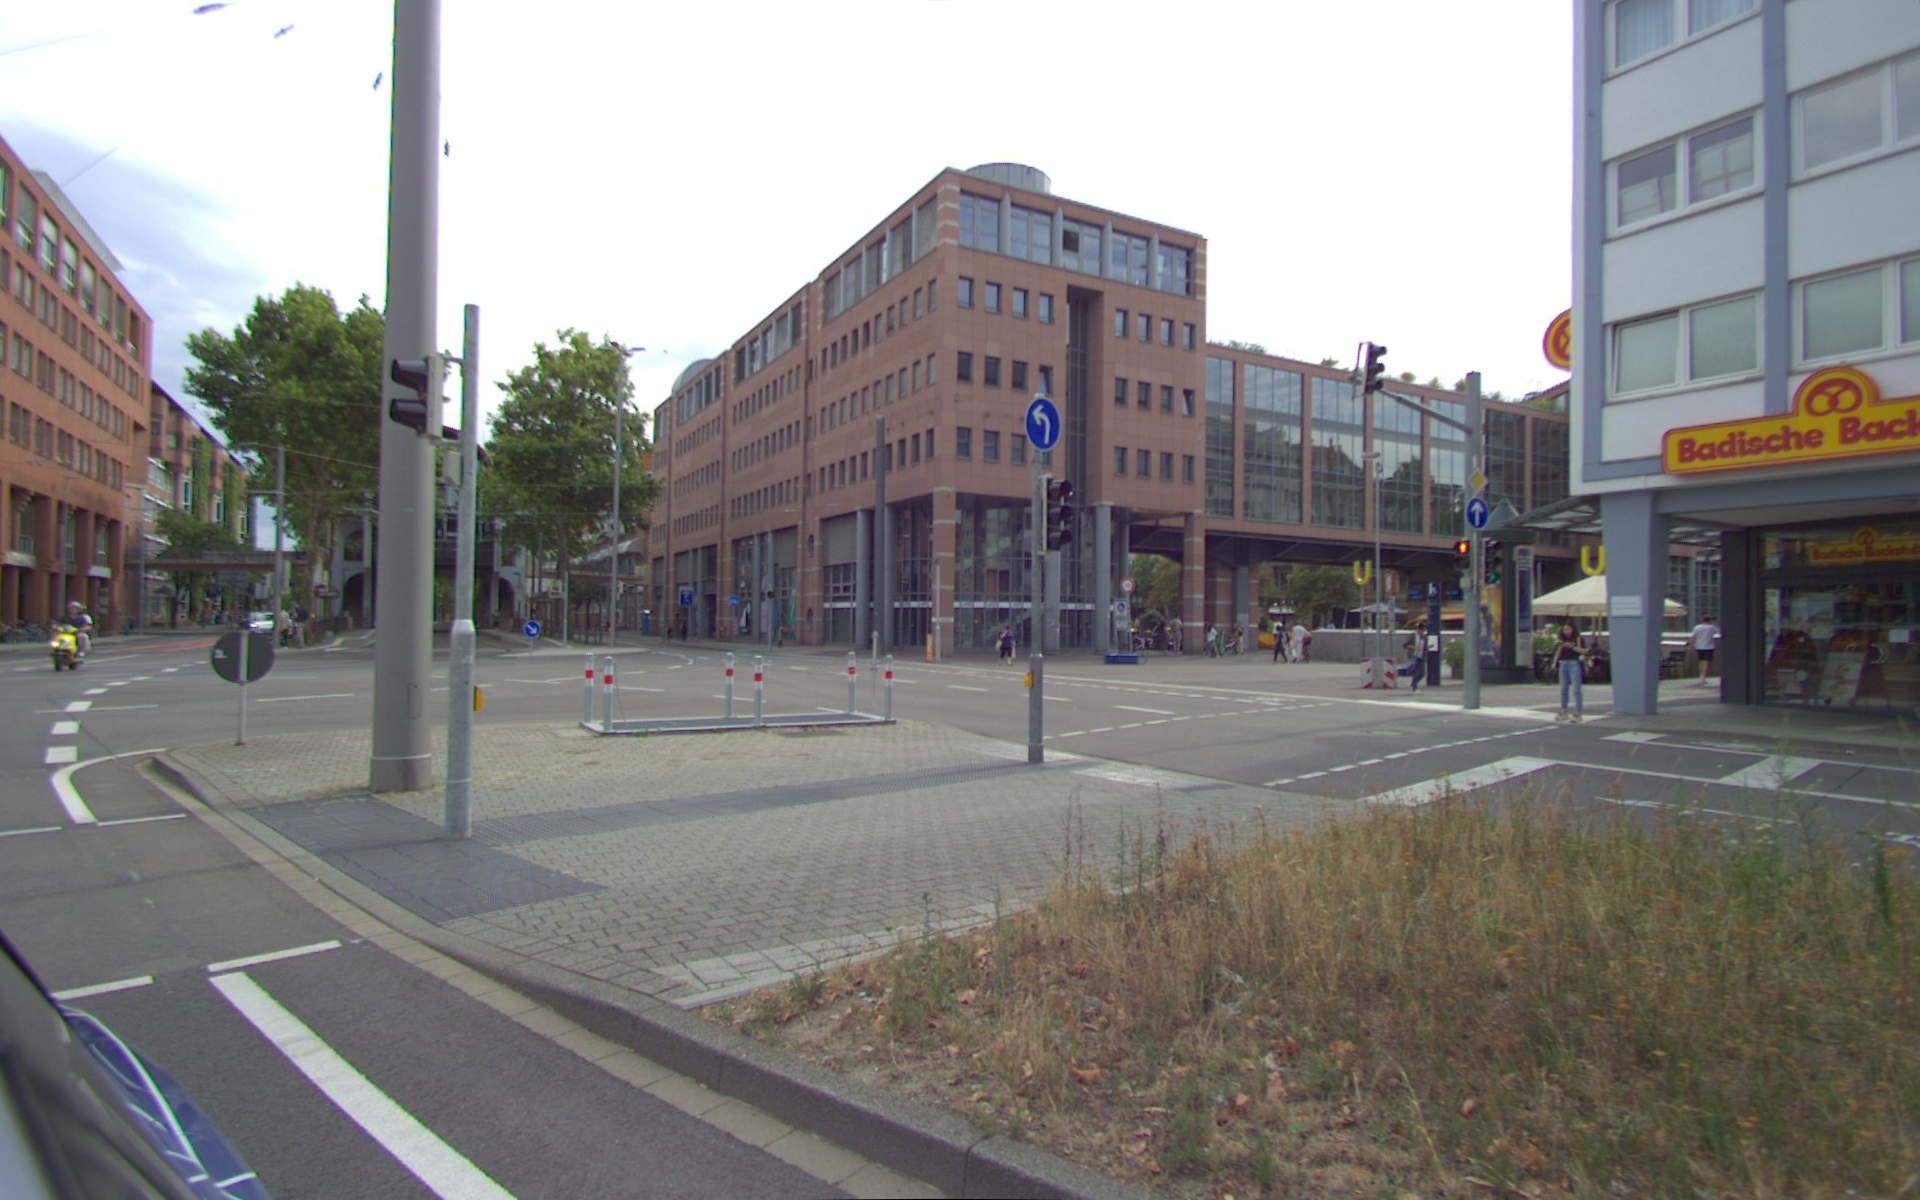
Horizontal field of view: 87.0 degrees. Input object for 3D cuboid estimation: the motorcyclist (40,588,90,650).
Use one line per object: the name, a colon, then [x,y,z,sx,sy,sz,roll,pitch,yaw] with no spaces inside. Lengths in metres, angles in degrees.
motorcyclist: [-22.536,0.471,25.498,0.858,1.528,1.046,2,-2,-39]

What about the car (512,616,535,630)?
car: [-48.472,2.507,112.264,1.837,1.484,4.309,1,-2,-30]

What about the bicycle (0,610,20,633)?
bicycle: [-44.790,0.978,46.805,1.828,1.048,0.509,1,-2,-28]

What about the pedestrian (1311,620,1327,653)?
pedestrian: [18.193,1.857,51.297,0.512,1.676,0.583,1,-1,-28]

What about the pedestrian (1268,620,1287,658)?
pedestrian: [13.069,1.602,41.662,0.498,1.589,0.522,1,-2,-27]

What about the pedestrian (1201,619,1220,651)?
pedestrian: [11.641,1.629,47.070,0.644,1.484,0.583,1,-1,-28]

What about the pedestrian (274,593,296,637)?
pedestrian: [-27.868,0.620,41.784,0.527,1.805,0.578,1,-1,-9]

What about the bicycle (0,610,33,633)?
bicycle: [-44.894,1.019,47.565,1.828,1.048,0.536,2,-2,-28]

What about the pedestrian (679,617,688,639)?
pedestrian: [-20.243,2.078,74.099,0.520,1.585,0.603,2,-1,-29]

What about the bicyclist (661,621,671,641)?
bicyclist: [-21.301,2.244,73.383,0.542,1.391,0.740,2,-1,-28]

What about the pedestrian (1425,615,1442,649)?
pedestrian: [23.586,1.598,50.454,0.512,1.676,0.583,1,-1,-28]

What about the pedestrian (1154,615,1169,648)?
pedestrian: [10.346,1.633,51.976,0.512,1.676,0.583,1,-1,-28]

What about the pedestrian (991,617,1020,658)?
pedestrian: [1.642,1.343,36.436,0.785,1.484,0.687,1,-1,-28]

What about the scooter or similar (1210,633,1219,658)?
scooter or similar: [12.174,2.176,48.347,0.379,1.178,1.288,1,-1,13]

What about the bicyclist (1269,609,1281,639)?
bicyclist: [16.487,1.264,53.018,0.543,1.581,0.877,0,-1,21]

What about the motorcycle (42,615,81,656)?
motorcycle: [-22.553,0.881,25.415,0.561,0.975,2.018,2,-2,-38]

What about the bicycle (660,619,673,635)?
bicycle: [-21.275,1.928,73.385,0.538,1.126,1.595,1,-2,-28]

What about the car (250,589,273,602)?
car: [-87.413,-0.559,126.712,1.925,1.613,4.013,2,-1,-28]

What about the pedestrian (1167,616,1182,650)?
pedestrian: [10.851,1.668,51.185,0.578,1.676,0.516,0,-1,28]

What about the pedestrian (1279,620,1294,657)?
pedestrian: [14.629,1.729,45.307,0.629,1.654,0.464,0,-2,22]

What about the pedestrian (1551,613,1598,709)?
pedestrian: [10.232,0.999,16.851,0.492,1.571,0.519,2,-2,-36]

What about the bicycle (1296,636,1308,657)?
bicycle: [15.329,2.068,45.349,0.470,0.895,1.776,0,-1,21]

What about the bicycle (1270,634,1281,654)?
bicycle: [16.585,2.319,53.232,0.470,0.996,1.776,0,-1,21]

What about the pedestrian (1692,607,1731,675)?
pedestrian: [20.894,1.130,28.147,0.850,1.873,0.583,1,-1,-30]

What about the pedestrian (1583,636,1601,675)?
pedestrian: [18.642,1.623,29.836,0.441,1.142,0.529,0,-2,33]

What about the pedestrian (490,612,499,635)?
pedestrian: [-36.304,1.829,78.939,0.474,1.784,0.482,2,-1,-36]

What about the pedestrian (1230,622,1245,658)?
pedestrian: [14.013,2.014,51.139,0.678,1.775,0.496,0,-1,14]

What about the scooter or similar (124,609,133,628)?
scooter or similar: [-55.428,1.238,67.438,0.268,1.267,0.924,1,-1,-28]

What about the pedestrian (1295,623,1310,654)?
pedestrian: [15.368,1.713,45.354,0.628,1.386,0.859,0,-1,19]

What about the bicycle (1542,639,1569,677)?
bicycle: [16.680,1.613,28.320,0.472,0.996,1.766,0,-2,36]

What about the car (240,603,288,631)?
car: [-41.703,1.007,60.713,1.925,1.613,4.013,2,-1,-28]

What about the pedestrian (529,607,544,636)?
pedestrian: [-23.308,1.163,55.674,0.647,1.549,0.560,1,1,-33]

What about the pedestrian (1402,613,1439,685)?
pedestrian: [10.476,1.108,23.033,0.683,1.606,0.656,0,-2,18]

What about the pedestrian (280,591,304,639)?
pedestrian: [-26.438,0.600,40.060,0.682,1.889,0.809,1,-1,-28]
